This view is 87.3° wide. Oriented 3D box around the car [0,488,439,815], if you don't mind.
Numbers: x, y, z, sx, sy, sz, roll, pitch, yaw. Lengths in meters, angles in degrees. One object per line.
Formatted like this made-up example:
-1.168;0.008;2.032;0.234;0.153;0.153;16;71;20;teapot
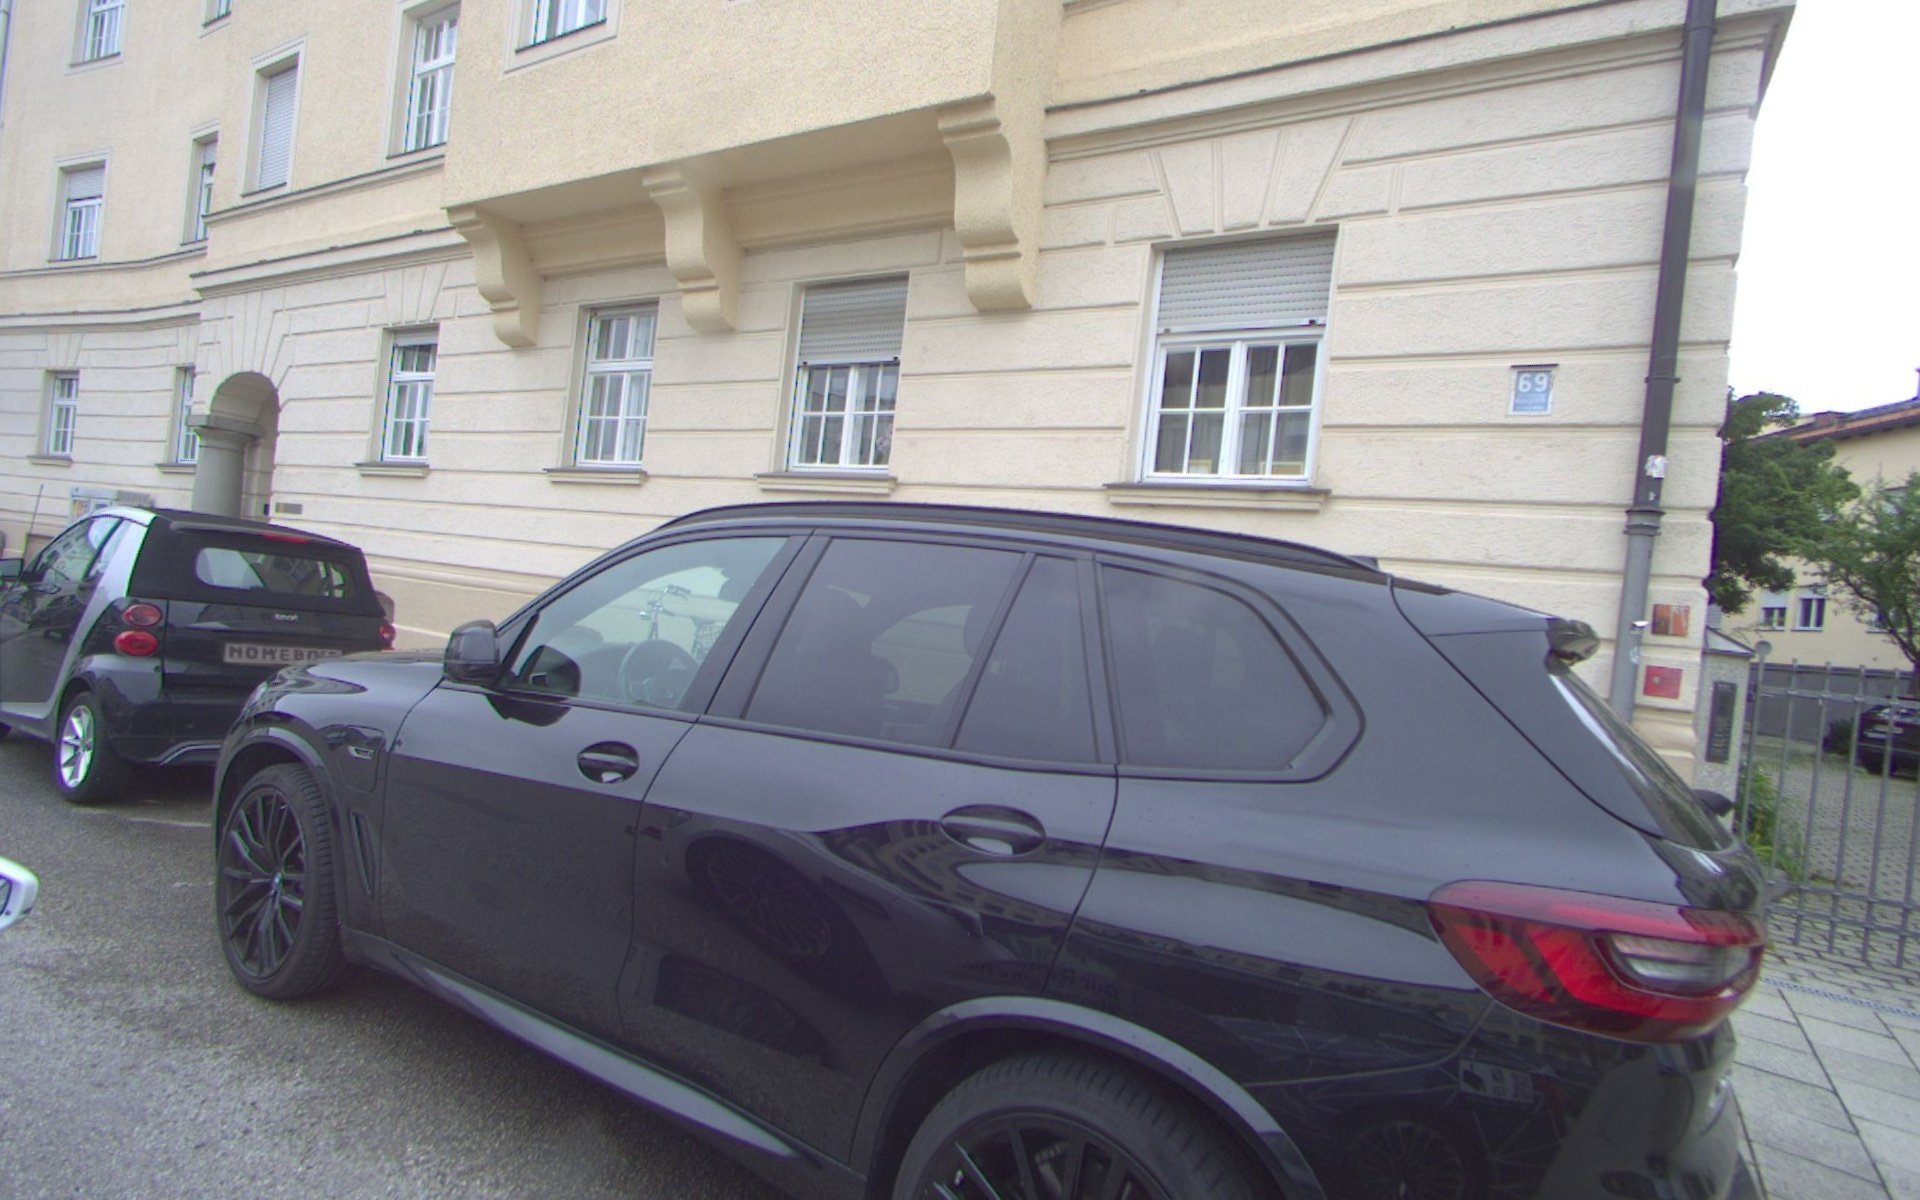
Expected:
-4.962;0.220;6.351;3.060;1.541;1.537;6;-2;33;car

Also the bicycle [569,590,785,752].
-2.459;0.559;8.628;1.921;1.097;0.579;7;3;32;bicycle

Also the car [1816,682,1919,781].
18.982;2.617;18.957;4.168;1.568;1.932;6;1;-7;car

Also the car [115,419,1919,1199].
-0.502;0.540;3.213;4.786;1.737;1.872;6;-2;32;car

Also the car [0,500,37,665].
-10.487;-0.386;9.435;3.768;1.464;1.711;6;-2;33;car

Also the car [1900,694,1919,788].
18.052;2.567;16.287;4.168;1.534;1.780;6;1;-7;car
